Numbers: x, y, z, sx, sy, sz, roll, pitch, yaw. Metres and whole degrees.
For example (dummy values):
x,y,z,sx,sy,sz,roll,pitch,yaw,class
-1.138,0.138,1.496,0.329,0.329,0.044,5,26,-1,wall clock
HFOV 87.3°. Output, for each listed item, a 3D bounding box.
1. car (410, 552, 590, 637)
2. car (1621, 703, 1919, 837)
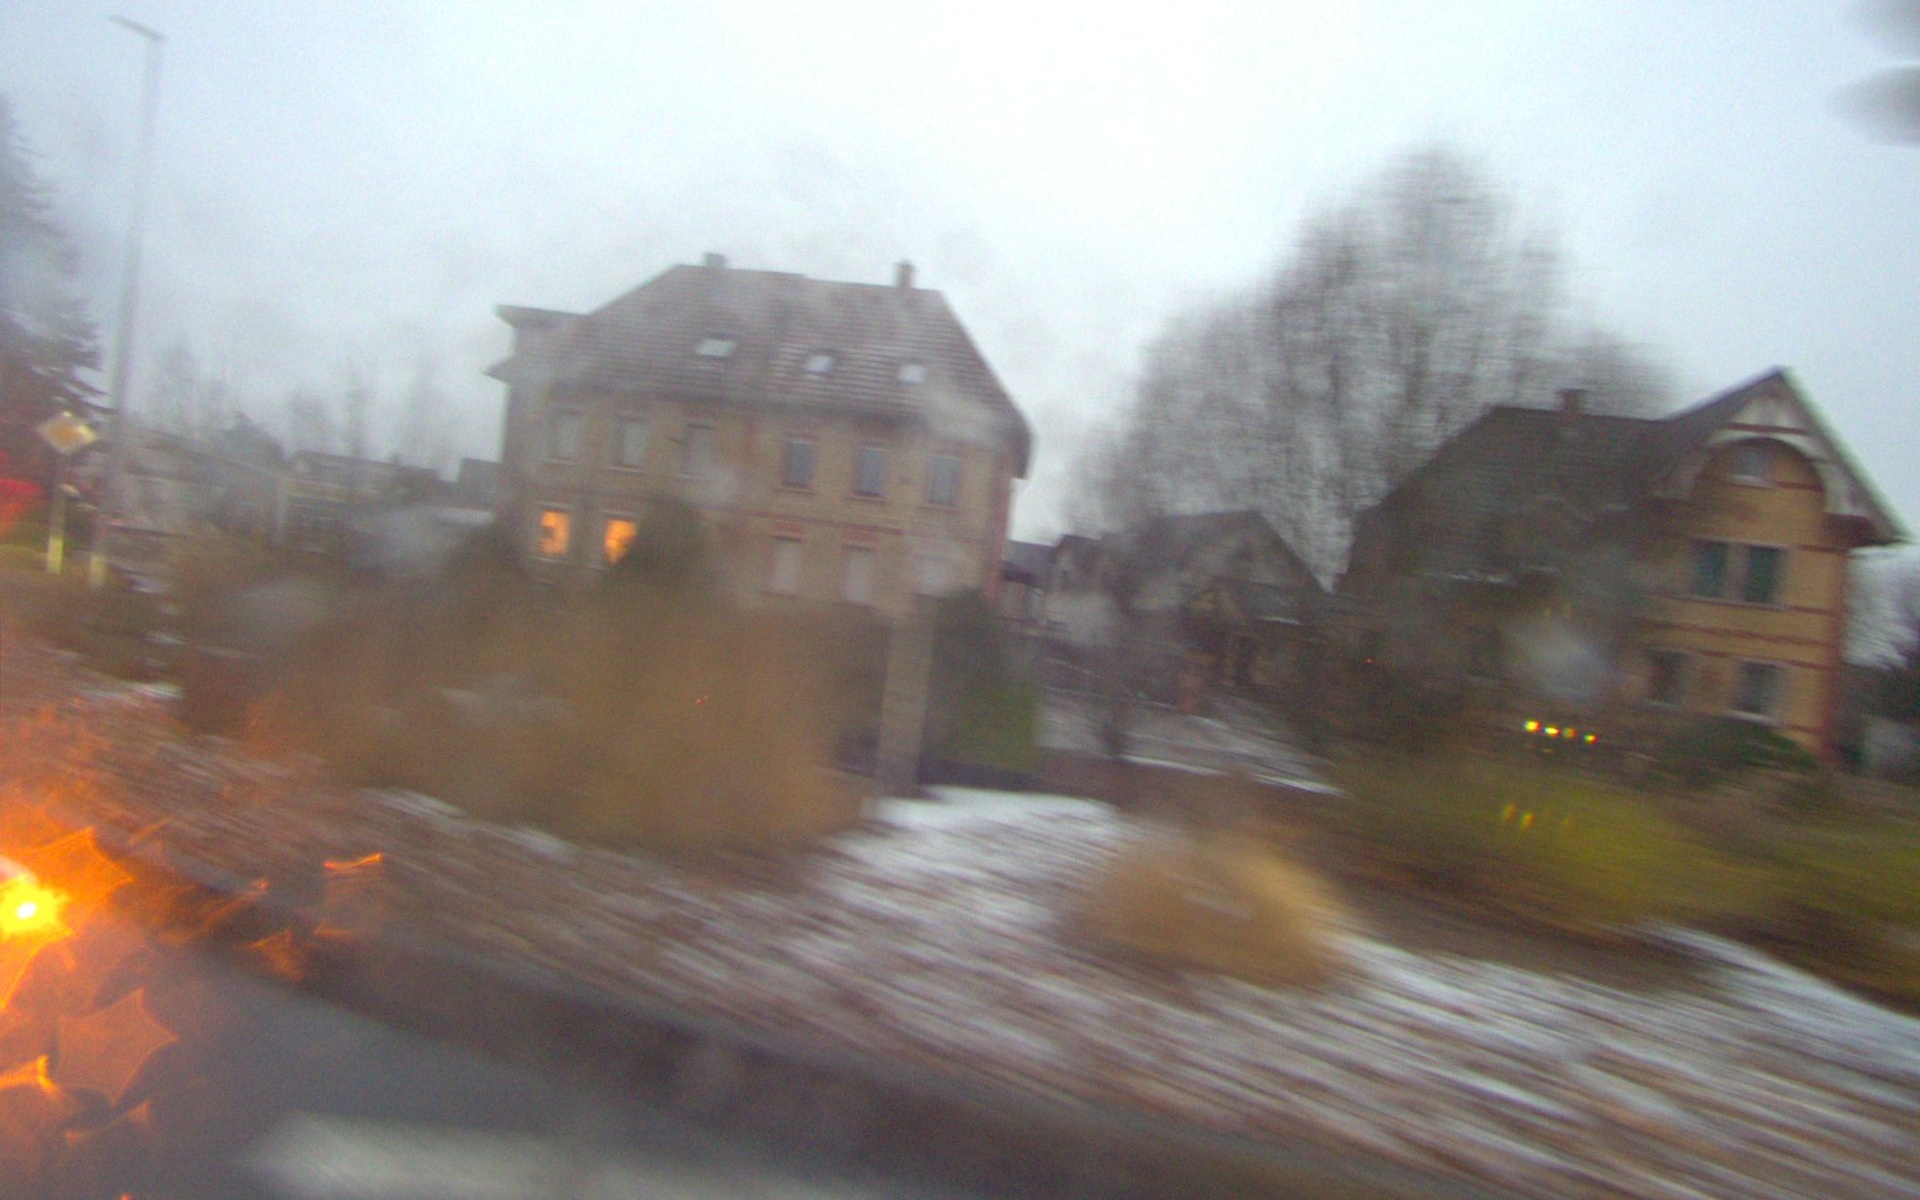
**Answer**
x,y,z,sx,sy,sz,roll,pitch,yaw,class
-10.504,-0.108,23.018,3.512,1.400,1.287,8,0,10,car
17.659,3.585,21.484,5.229,1.889,2.368,6,1,11,car
